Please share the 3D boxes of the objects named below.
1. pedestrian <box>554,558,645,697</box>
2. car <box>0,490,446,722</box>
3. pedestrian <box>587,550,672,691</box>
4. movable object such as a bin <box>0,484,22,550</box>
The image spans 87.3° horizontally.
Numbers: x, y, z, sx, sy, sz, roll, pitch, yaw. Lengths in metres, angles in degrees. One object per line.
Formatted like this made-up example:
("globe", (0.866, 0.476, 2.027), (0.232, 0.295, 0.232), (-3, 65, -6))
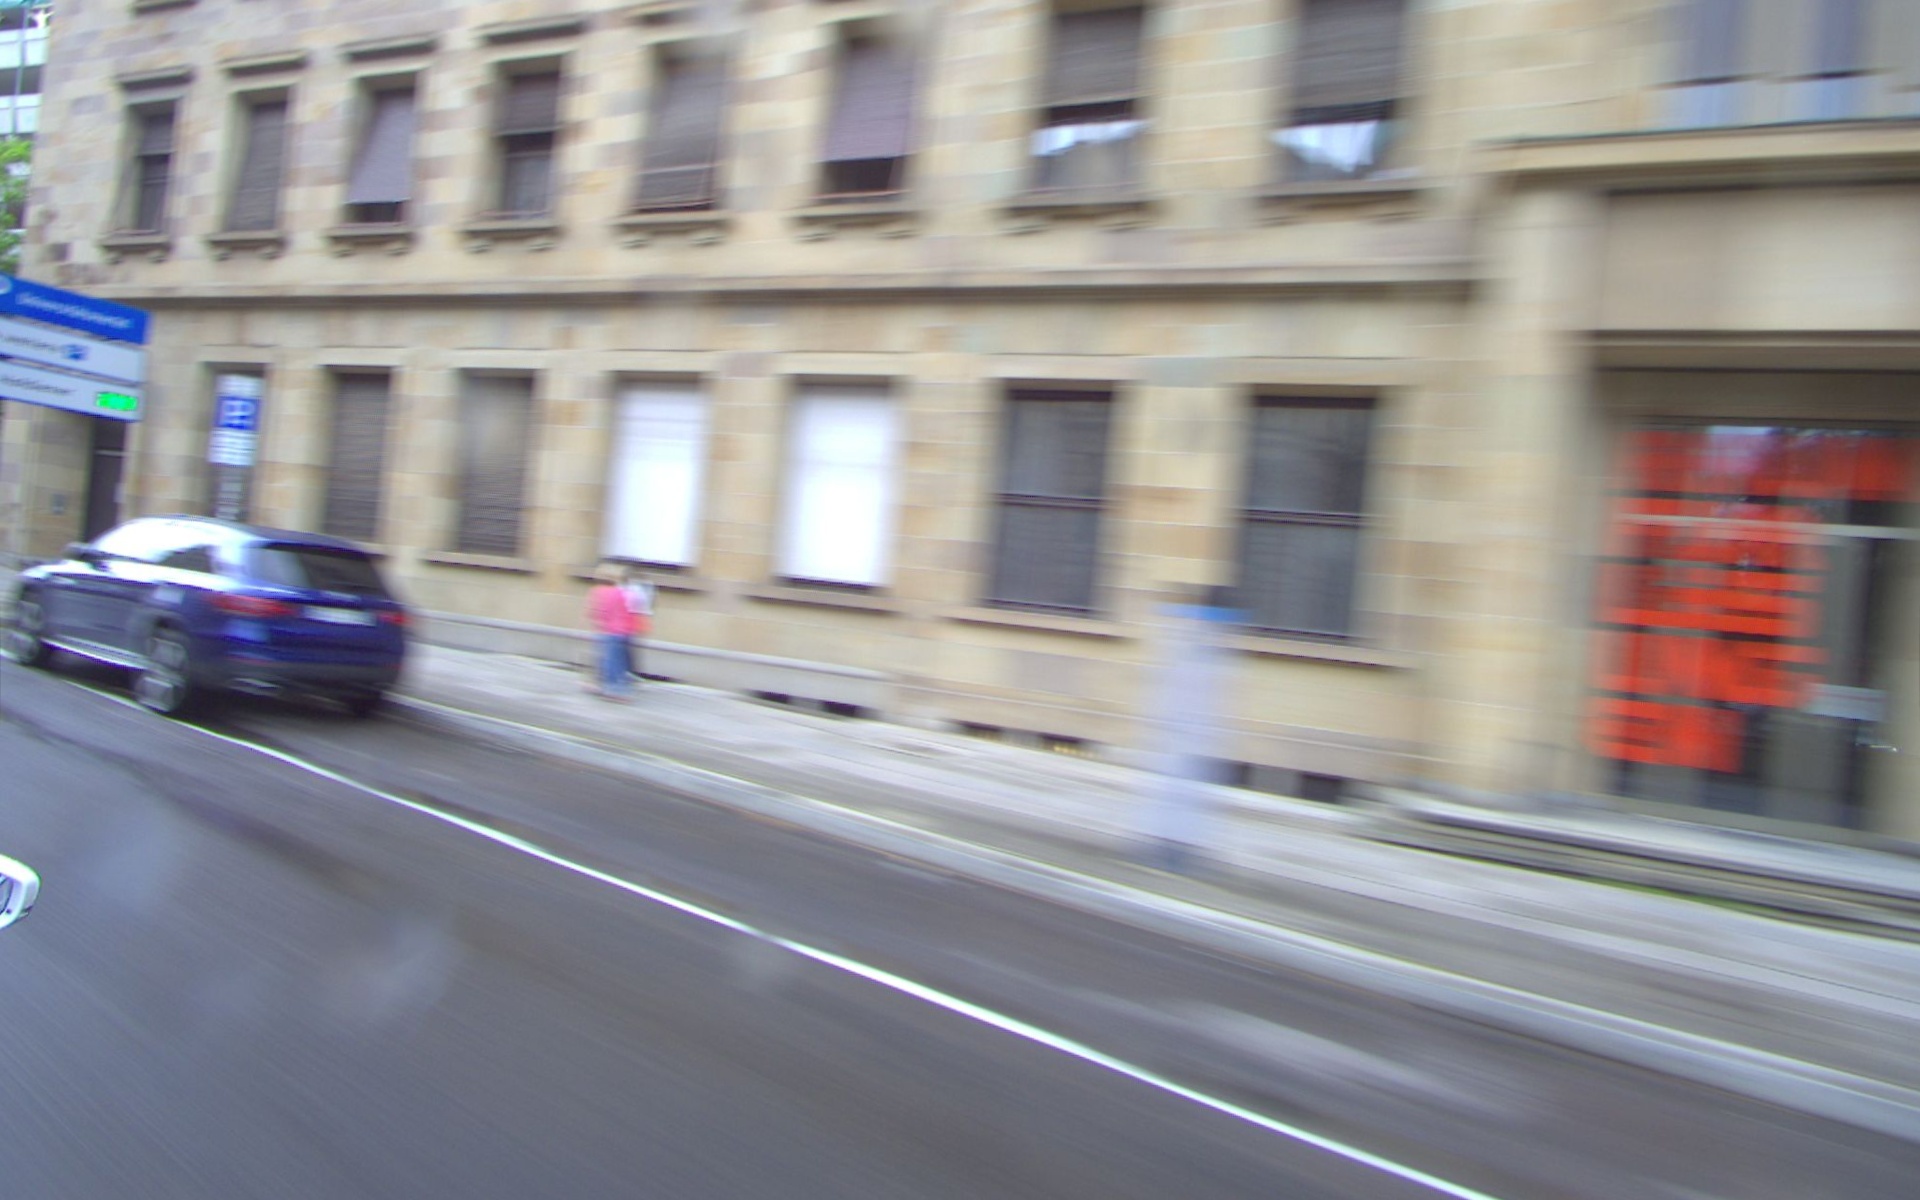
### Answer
("pedestrian", (-4.162, 0.325, 11.631), (0.662, 1.510, 0.526), (7, 0, 26))
("car", (-7.073, 0.016, 9.581), (4.086, 1.638, 1.772), (6, -1, 29))
("pedestrian", (-4.040, 0.252, 12.302), (0.663, 1.622, 0.525), (7, 0, 32))
("movable object such as a bin", (-20.464, -1.798, 20.785), (1.213, 1.327, 1.240), (7, 1, 32))
